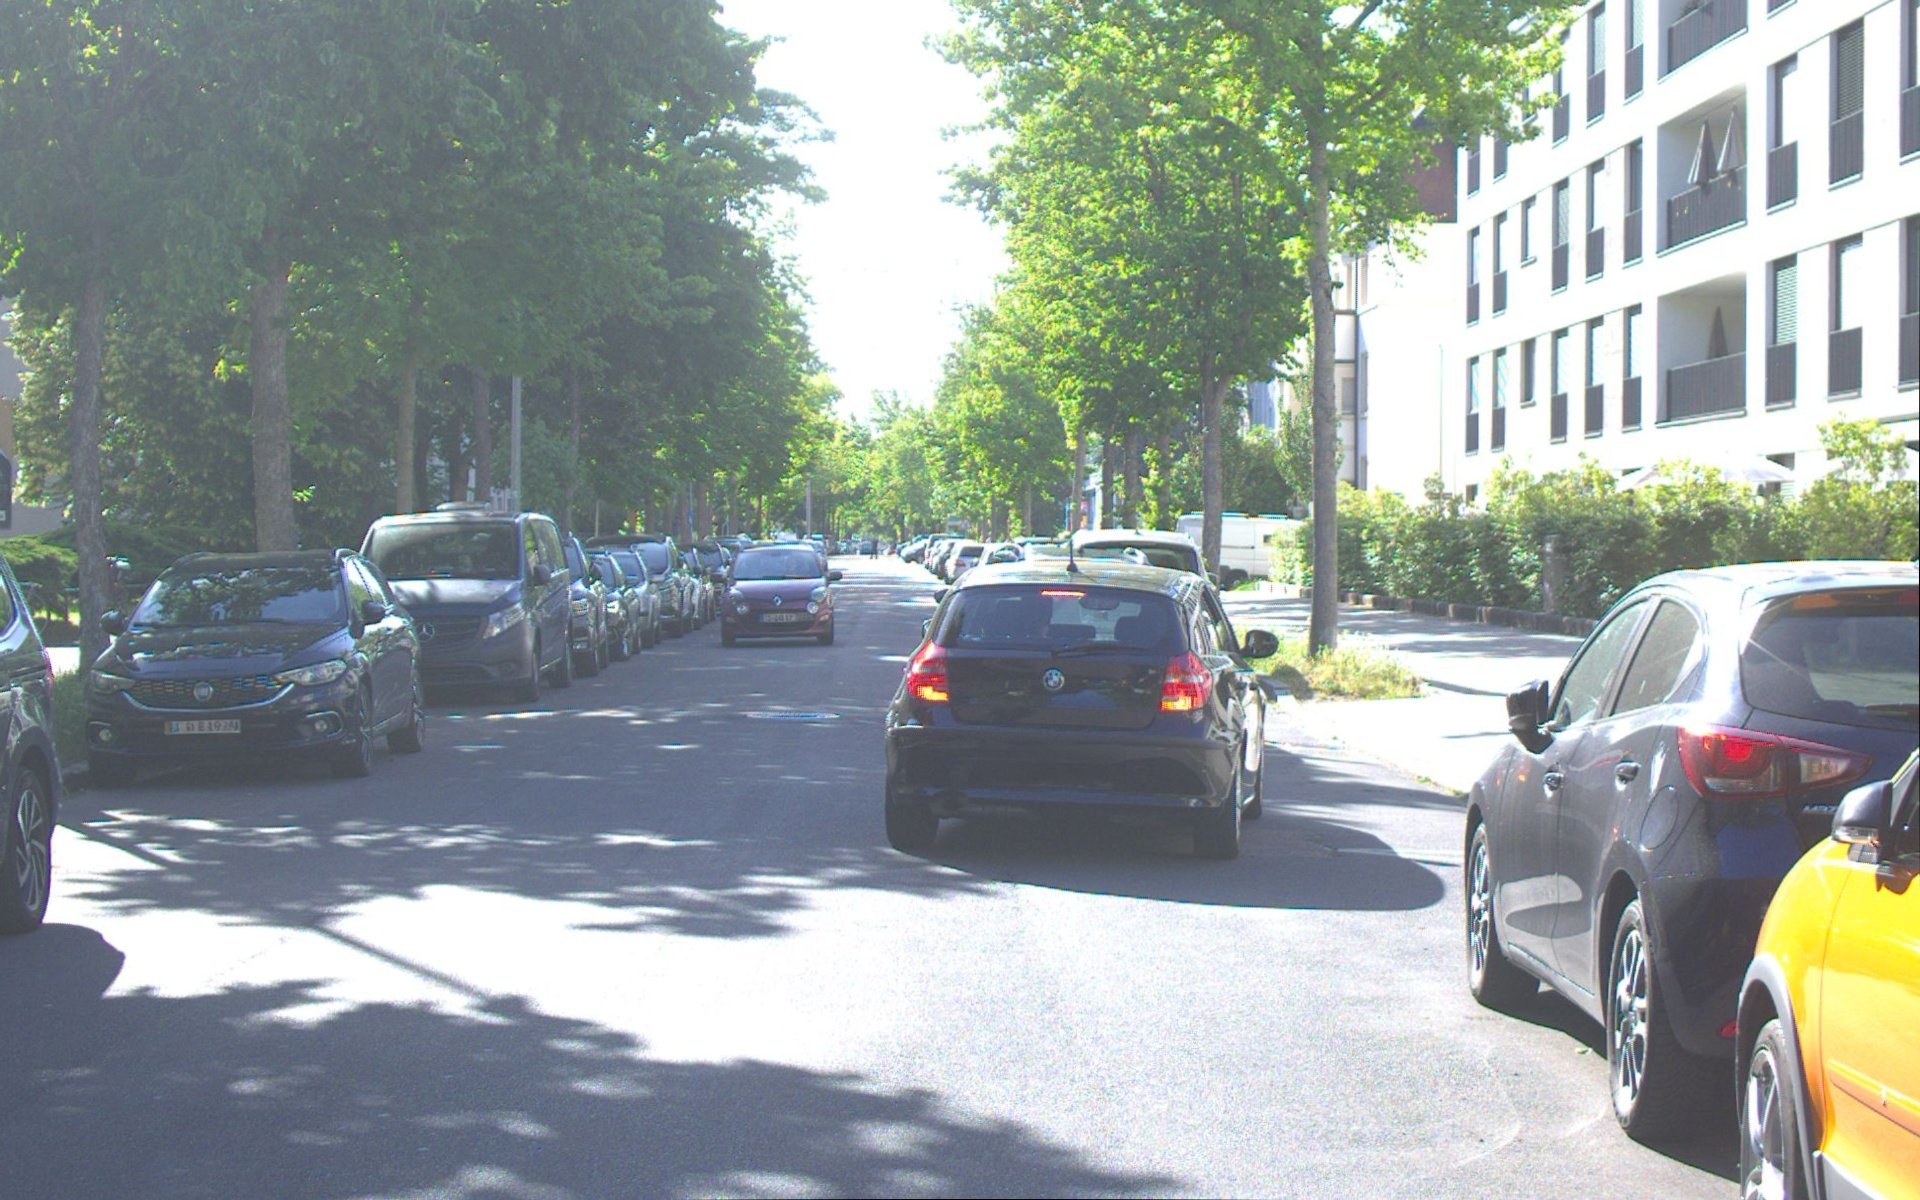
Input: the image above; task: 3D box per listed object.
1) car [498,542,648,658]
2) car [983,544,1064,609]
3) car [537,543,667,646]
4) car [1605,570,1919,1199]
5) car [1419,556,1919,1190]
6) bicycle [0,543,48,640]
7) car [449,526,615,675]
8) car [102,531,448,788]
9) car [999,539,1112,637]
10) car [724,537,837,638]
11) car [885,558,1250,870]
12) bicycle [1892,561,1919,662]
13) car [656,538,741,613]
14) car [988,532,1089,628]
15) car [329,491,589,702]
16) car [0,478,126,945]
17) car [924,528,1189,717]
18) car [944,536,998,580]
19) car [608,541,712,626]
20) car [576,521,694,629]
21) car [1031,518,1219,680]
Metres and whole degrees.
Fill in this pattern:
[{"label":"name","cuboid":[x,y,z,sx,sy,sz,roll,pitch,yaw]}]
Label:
[{"label":"car","cuboid":[-5.048,-0.033,45.219,1.612,1.422,4.058,-1,1,-2]},{"label":"car","cuboid":[1.433,-0.560,78.704,1.721,1.374,3.851,2,1,0]},{"label":"car","cuboid":[-5.207,-0.105,50.312,1.612,1.422,3.726,-1,1,-2]},{"label":"car","cuboid":[2.282,0.702,5.508,1.636,1.450,4.100,0,1,-1]},{"label":"car","cuboid":[2.492,0.612,10.076,1.700,1.444,4.082,0,1,-1]},{"label":"bicycle","cuboid":[-12.476,-0.104,42.762,2.144,1.204,0.690,0,1,-12]},{"label":"car","cuboid":[-4.915,-0.034,39.911,1.612,1.606,4.230,-1,1,-3]},{"label":"car","cuboid":[-4.616,0.330,23.777,1.507,1.543,4.779,-2,1,-1]},{"label":"car","cuboid":[1.569,-0.228,57.579,1.721,1.523,4.000,2,1,0]},{"label":"car","cuboid":[-2.600,-0.207,50.239,1.505,1.421,3.178,0,1,-1]},{"label":"car","cuboid":[0.459,0.501,17.466,1.649,1.392,3.412,0,1,-2]},{"label":"bicycle","cuboid":[10.354,0.121,36.142,0.546,1.051,1.692,-1,1,-4]},{"label":"car","cuboid":[-5.531,-0.538,72.975,1.612,1.538,3.866,-1,1,-2]},{"label":"car","cuboid":[1.426,-0.392,63.584,1.721,1.635,3.851,2,1,0]},{"label":"car","cuboid":[-4.884,-0.081,34.177,1.826,1.898,5.142,-1,1,0]},{"label":"car","cuboid":[-4.375,0.444,11.822,1.849,1.675,4.977,-2,1,-1]},{"label":"car","cuboid":[0.714,0.129,28.125,1.649,1.420,4.002,0,1,-6]},{"label":"car","cuboid":[0.393,-1.464,118.772,1.721,1.475,3.851,0,1,2]},{"label":"car","cuboid":[-5.337,-0.320,61.455,1.612,1.447,3.866,-1,1,-2]},{"label":"car","cuboid":[-5.234,-0.430,55.749,1.612,1.673,4.235,-1,1,-2]},{"label":"car","cuboid":[1.735,-0.034,37.448,1.848,1.625,4.410,1,0,0]}]
